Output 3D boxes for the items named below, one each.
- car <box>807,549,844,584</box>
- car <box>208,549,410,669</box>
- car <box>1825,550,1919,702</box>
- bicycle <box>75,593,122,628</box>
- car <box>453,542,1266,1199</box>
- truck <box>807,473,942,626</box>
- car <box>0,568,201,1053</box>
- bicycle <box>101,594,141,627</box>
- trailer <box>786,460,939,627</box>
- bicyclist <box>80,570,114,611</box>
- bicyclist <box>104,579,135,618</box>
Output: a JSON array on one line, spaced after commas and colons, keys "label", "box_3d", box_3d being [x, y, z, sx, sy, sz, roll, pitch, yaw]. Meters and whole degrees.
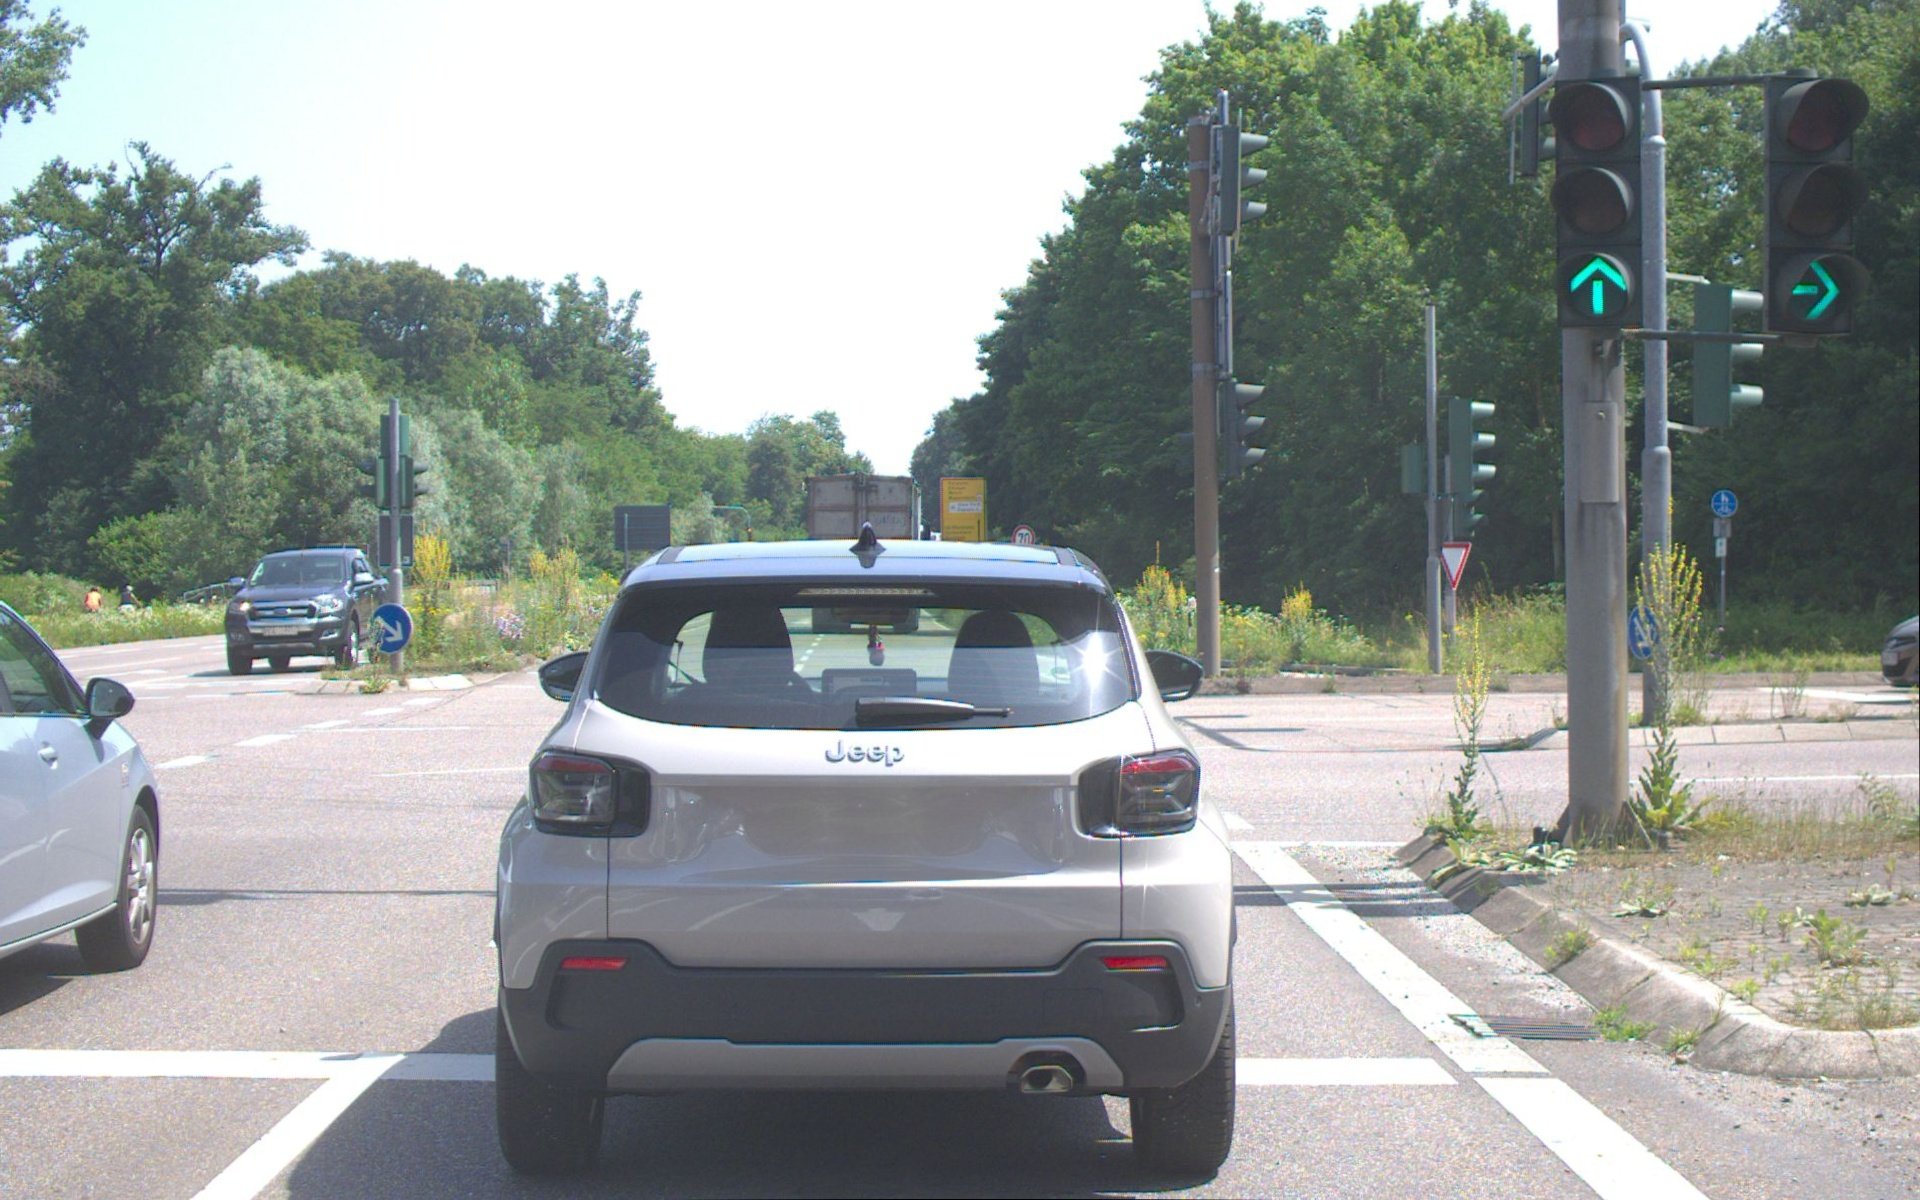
[{"label": "car", "box_3d": [-7.849, -1.951, 201.232, 1.993, 2.007, 4.554, -1, 1, -1]}, {"label": "car", "box_3d": [-9.832, 0.094, 52.339, 1.993, 1.672, 5.365, -2, 1, 0]}, {"label": "car", "box_3d": [10.823, 0.200, 33.770, 4.091, 1.442, 1.996, -1, 1, -2]}, {"label": "bicycle", "box_3d": [-25.736, 0.316, 102.684, 0.676, 1.002, 1.800, -2, 1, 9]}, {"label": "car", "box_3d": [-0.219, 0.616, 9.490, 1.767, 1.529, 4.000, 0, 1, 0]}, {"label": "truck", "box_3d": [-2.267, -1.353, 93.580, 3.333, 3.975, 6.533, 1, 0, 1]}, {"label": "car", "box_3d": [-3.673, 0.613, 10.905, 1.665, 1.425, 3.828, 1, 1, 0]}, {"label": "bicycle", "box_3d": [-25.957, 0.327, 106.353, 0.604, 1.002, 1.555, -2, 0, 10]}, {"label": "trailer", "box_3d": [-2.378, -1.378, 87.938, 3.383, 3.975, 10.804, 1, 0, 1]}, {"label": "bicyclist", "box_3d": [-25.762, -0.283, 102.633, 0.757, 1.191, 0.592, -2, 1, 10]}, {"label": "bicyclist", "box_3d": [-25.993, -0.049, 106.330, 0.735, 1.191, 0.591, -2, 0, 11]}]
